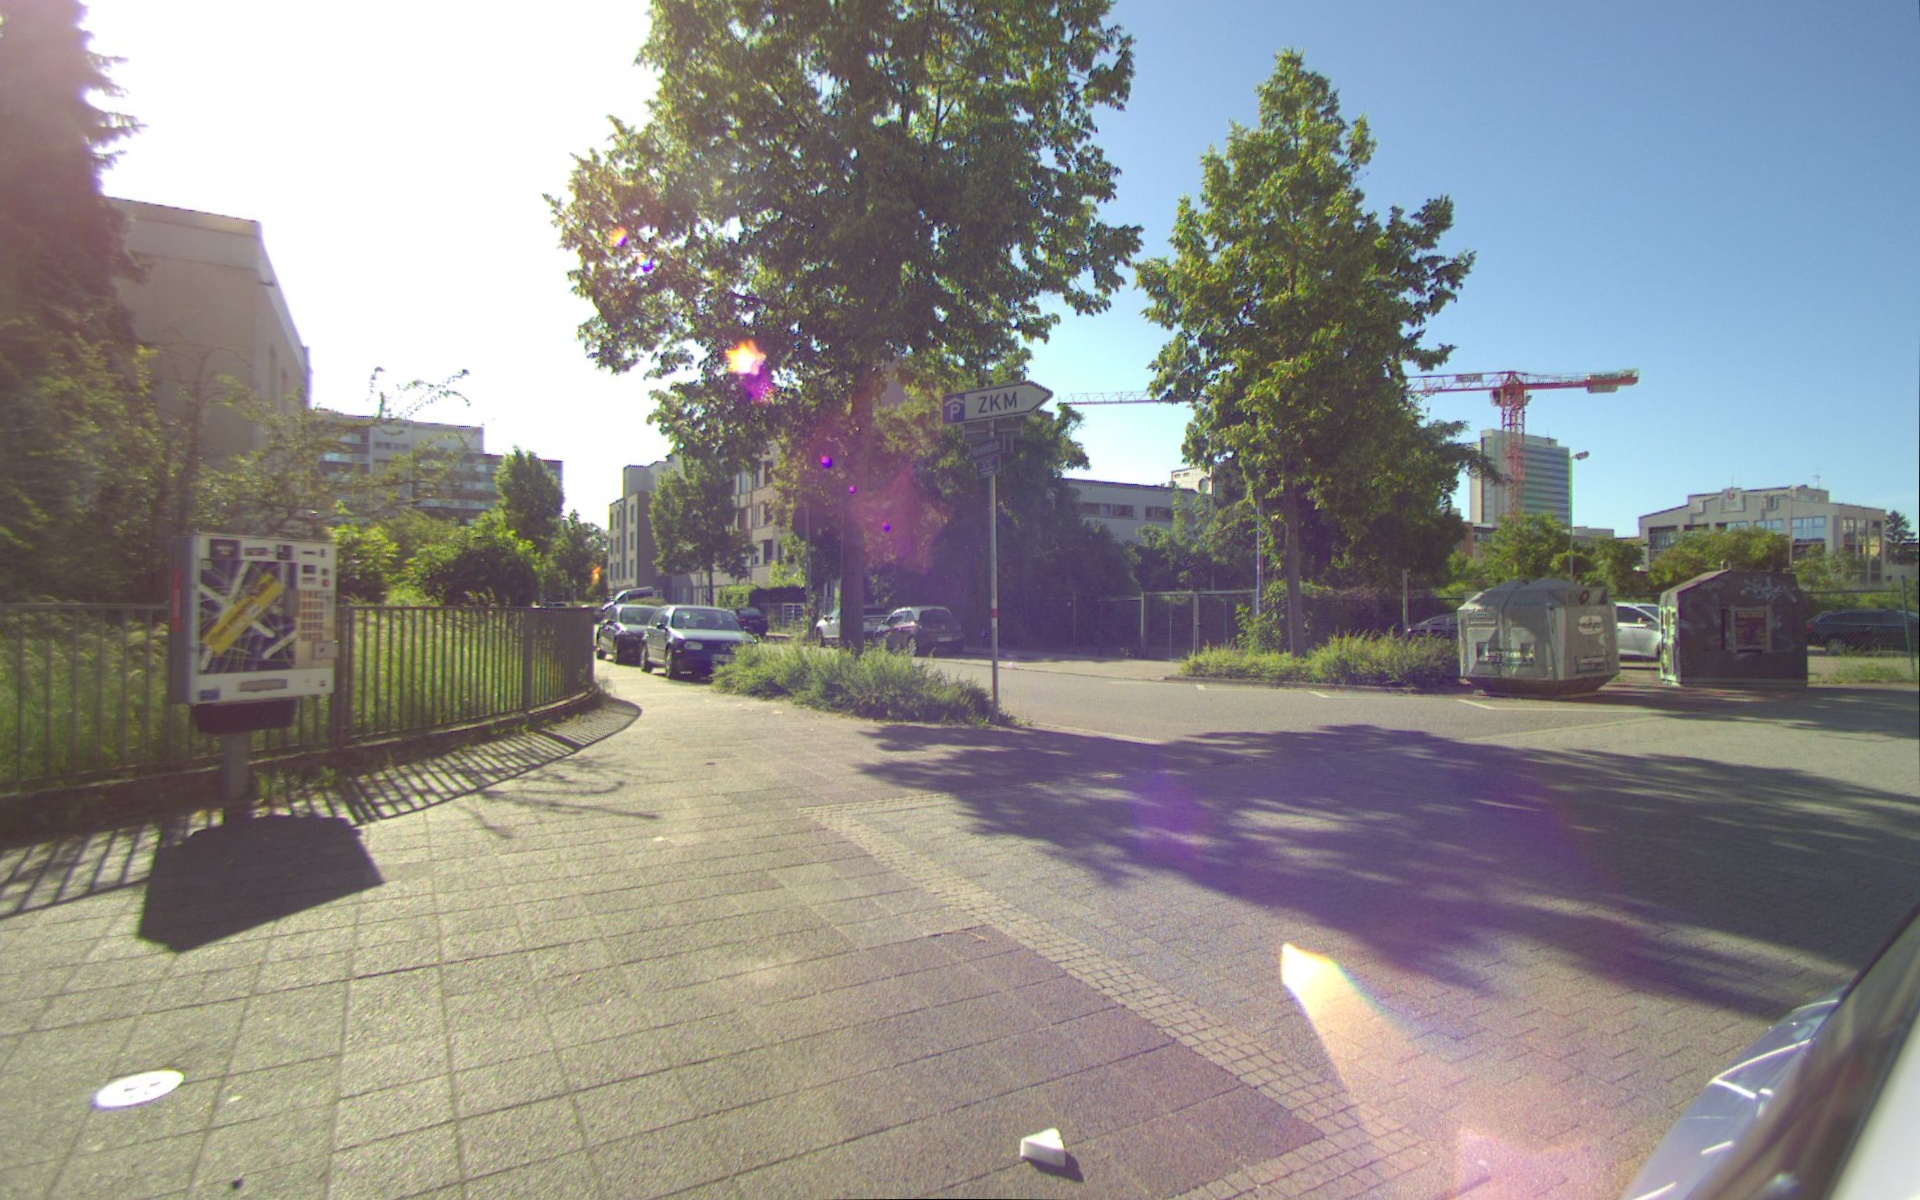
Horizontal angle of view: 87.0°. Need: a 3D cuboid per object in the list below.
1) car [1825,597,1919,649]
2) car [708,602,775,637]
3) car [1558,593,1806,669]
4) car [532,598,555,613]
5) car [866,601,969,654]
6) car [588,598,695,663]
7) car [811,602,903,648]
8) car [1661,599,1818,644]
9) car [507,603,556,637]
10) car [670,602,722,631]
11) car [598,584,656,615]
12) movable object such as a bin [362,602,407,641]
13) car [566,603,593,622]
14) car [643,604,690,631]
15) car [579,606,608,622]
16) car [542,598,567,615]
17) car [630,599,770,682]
[{"bbox_3d":[29.801,0.700,31.304,1.858,1.580,4.249,0,-1,-27],"label":"car"},{"bbox_3d":[-10.315,0.885,47.555,1.809,1.492,4.364,-2,1,-29],"label":"car"},{"bbox_3d":[17.095,0.682,24.241,1.959,1.630,4.432,0,-1,-27],"label":"car"},{"bbox_3d":[-46.191,0.590,112.115,1.761,1.537,3.892,-1,0,-32],"label":"car"},{"bbox_3d":[-1.373,0.789,31.469,1.689,1.492,3.549,-2,1,-31],"label":"car"},{"bbox_3d":[-8.291,0.744,26.100,1.754,1.535,4.003,1,-1,-31],"label":"car"},{"bbox_3d":[-3.717,0.838,35.979,1.809,1.492,4.006,-2,1,-29],"label":"car"},{"bbox_3d":[29.072,0.790,37.890,1.859,1.580,4.247,1,-1,-29],"label":"car"},{"bbox_3d":[-19.965,0.920,47.052,1.647,1.523,3.850,0,-1,-30],"label":"car"},{"bbox_3d":[-14.715,0.875,56.265,1.809,1.492,4.031,-2,1,-29],"label":"car"},{"bbox_3d":[-32.615,-0.011,99.231,5.055,2.939,2.015,1,-1,-33],"label":"car"},{"bbox_3d":[-20.608,0.756,36.267,1.343,1.375,1.633,1,-1,-28],"label":"movable object such as a bin"},{"bbox_3d":[-32.516,1.042,86.520,1.599,1.543,3.566,0,1,-30],"label":"car"},{"bbox_3d":[-17.743,1.004,61.114,1.809,1.492,4.104,-2,1,-29],"label":"car"},{"bbox_3d":[-29.433,1.146,81.212,1.599,1.263,3.566,0,-1,-29],"label":"car"},{"bbox_3d":[-41.852,0.643,104.409,1.761,1.620,3.892,-1,0,-32],"label":"car"},{"bbox_3d":[-5.345,0.720,20.425,1.717,1.440,4.429,0,0,-28],"label":"car"}]
